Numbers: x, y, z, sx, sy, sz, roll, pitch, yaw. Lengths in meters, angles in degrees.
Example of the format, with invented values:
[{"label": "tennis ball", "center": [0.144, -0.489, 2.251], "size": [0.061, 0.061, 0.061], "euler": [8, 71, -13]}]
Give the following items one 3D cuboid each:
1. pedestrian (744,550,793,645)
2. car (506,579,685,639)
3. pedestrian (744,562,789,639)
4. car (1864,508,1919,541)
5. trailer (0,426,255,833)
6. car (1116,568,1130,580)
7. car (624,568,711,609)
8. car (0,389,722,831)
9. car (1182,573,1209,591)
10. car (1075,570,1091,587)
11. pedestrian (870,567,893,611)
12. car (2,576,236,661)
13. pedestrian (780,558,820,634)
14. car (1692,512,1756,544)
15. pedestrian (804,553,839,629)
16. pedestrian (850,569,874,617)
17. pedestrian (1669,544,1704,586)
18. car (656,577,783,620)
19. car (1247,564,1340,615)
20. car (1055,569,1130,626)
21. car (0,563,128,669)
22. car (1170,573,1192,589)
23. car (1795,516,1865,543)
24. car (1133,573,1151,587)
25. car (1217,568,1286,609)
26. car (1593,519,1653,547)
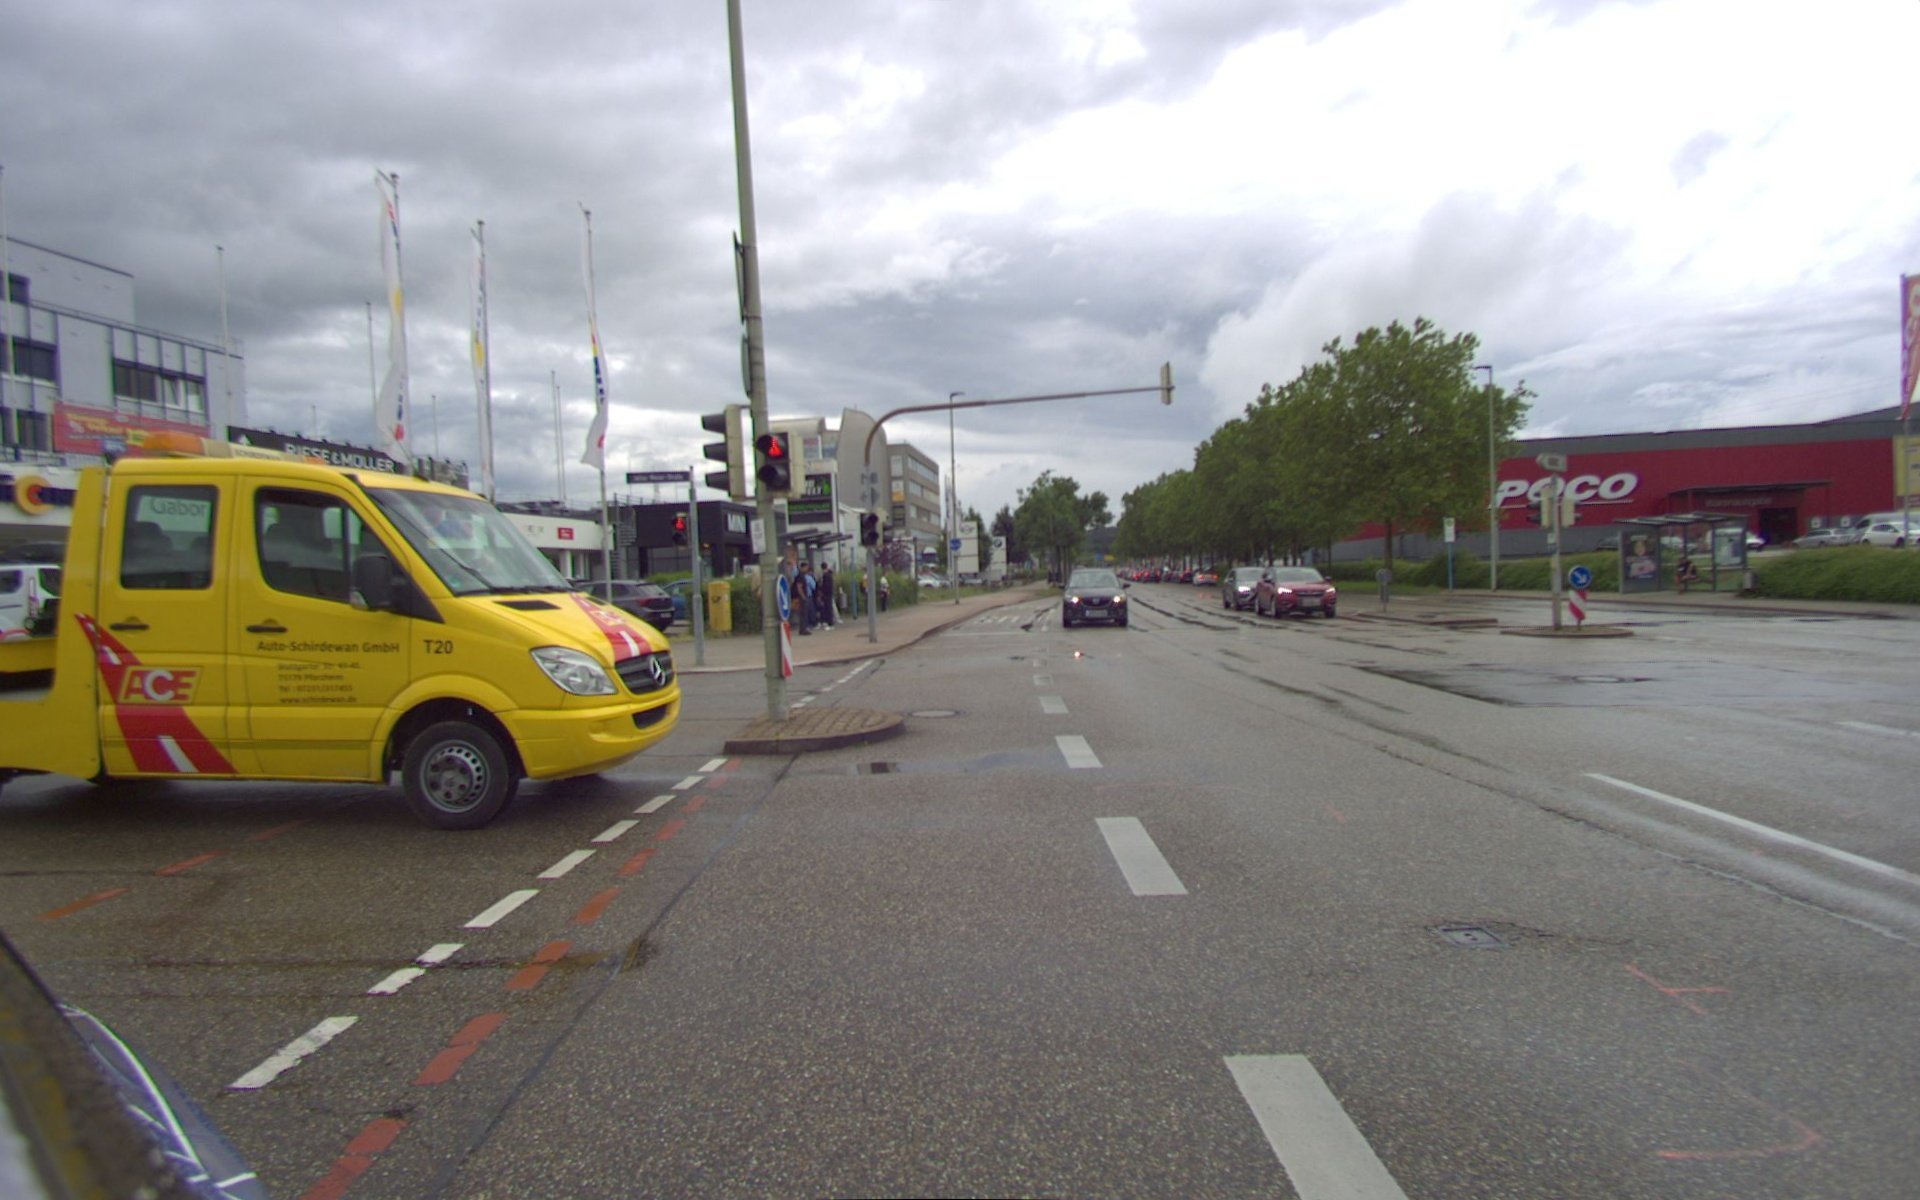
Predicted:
[{"label": "pedestrian", "center": [-4.208, -0.075, 22.228], "size": [0.802, 2.028, 0.699], "euler": [-2, 2, -35]}, {"label": "car", "center": [-9.552, 0.231, 26.640], "size": [4.084, 1.404, 1.817], "euler": [-2, 1, 12]}, {"label": "pedestrian", "center": [-4.626, -0.009, 24.166], "size": [0.802, 1.788, 0.699], "euler": [-2, 2, -35]}, {"label": "car", "center": [52.403, -4.161, 55.920], "size": [1.653, 1.657, 3.955], "euler": [-2, 1, 6]}, {"label": "trailer", "center": [-9.757, 0.242, 7.339], "size": [7.866, 2.492, 2.309], "euler": [-1, 1, 4]}, {"label": "car", "center": [23.956, -3.777, 148.820], "size": [1.821, 1.600, 3.993], "euler": [-2, 1, 6]}, {"label": "car", "center": [-15.424, -0.609, 53.516], "size": [3.958, 2.028, 1.904], "euler": [-2, 1, 12]}, {"label": "car", "center": [-4.433, 0.080, 7.034], "size": [4.949, 2.492, 2.245], "euler": [-1, 1, 3]}, {"label": "car", "center": [21.775, -1.690, 93.635], "size": [1.821, 1.600, 3.993], "euler": [-1, 1, 6]}, {"label": "car", "center": [13.283, -2.306, 109.447], "size": [1.601, 1.741, 3.673], "euler": [-2, 1, 4]}, {"label": "pedestrian", "center": [-3.100, -0.435, 39.918], "size": [0.706, 1.724, 0.695], "euler": [-2, 1, 9]}, {"label": "car", "center": [-20.055, 0.412, 24.221], "size": [4.324, 1.833, 1.892], "euler": [-2, 1, 9]}, {"label": "pedestrian", "center": [-4.008, -0.102, 25.376], "size": [0.807, 1.870, 0.695], "euler": [0, 3, 9]}, {"label": "car", "center": [53.664, -5.023, 71.153], "size": [1.769, 1.940, 3.745], "euler": [-2, 1, 5]}, {"label": "pedestrian", "center": [-3.788, -0.237, 27.652], "size": [0.733, 2.029, 0.695], "euler": [-2, 1, 9]}, {"label": "pedestrian", "center": [-3.595, -0.275, 37.111], "size": [0.693, 1.724, 0.695], "euler": [-2, 1, 9]}, {"label": "pedestrian", "center": [25.860, -1.241, 36.039], "size": [0.771, 1.442, 0.641], "euler": [-1, 1, 2]}, {"label": "car", "center": [-8.735, -0.065, 36.909], "size": [4.079, 1.404, 1.894], "euler": [-2, 1, 9]}, {"label": "car", "center": [10.362, -0.354, 31.749], "size": [1.695, 1.475, 3.998], "euler": [0, 1, 2]}, {"label": "car", "center": [3.826, -0.118, 29.810], "size": [1.732, 1.475, 3.998], "euler": [-3, 1, 2]}, {"label": "car", "center": [-20.263, 0.352, 21.011], "size": [4.734, 2.029, 1.994], "euler": [-2, 1, 10]}, {"label": "car", "center": [23.289, -1.990, 106.673], "size": [1.821, 1.600, 3.993], "euler": [-2, 1, 6]}, {"label": "car", "center": [59.685, -4.809, 69.516], "size": [1.677, 1.657, 3.955], "euler": [-2, 1, 6]}, {"label": "car", "center": [22.158, -2.403, 123.410], "size": [1.821, 1.600, 3.993], "euler": [-2, 1, 6]}, {"label": "car", "center": [10.853, -0.463, 37.947], "size": [1.676, 1.407, 3.699], "euler": [-2, 2, 4]}, {"label": "car", "center": [43.985, -4.404, 67.242], "size": [1.677, 1.657, 3.955], "euler": [-2, 1, 6]}]
